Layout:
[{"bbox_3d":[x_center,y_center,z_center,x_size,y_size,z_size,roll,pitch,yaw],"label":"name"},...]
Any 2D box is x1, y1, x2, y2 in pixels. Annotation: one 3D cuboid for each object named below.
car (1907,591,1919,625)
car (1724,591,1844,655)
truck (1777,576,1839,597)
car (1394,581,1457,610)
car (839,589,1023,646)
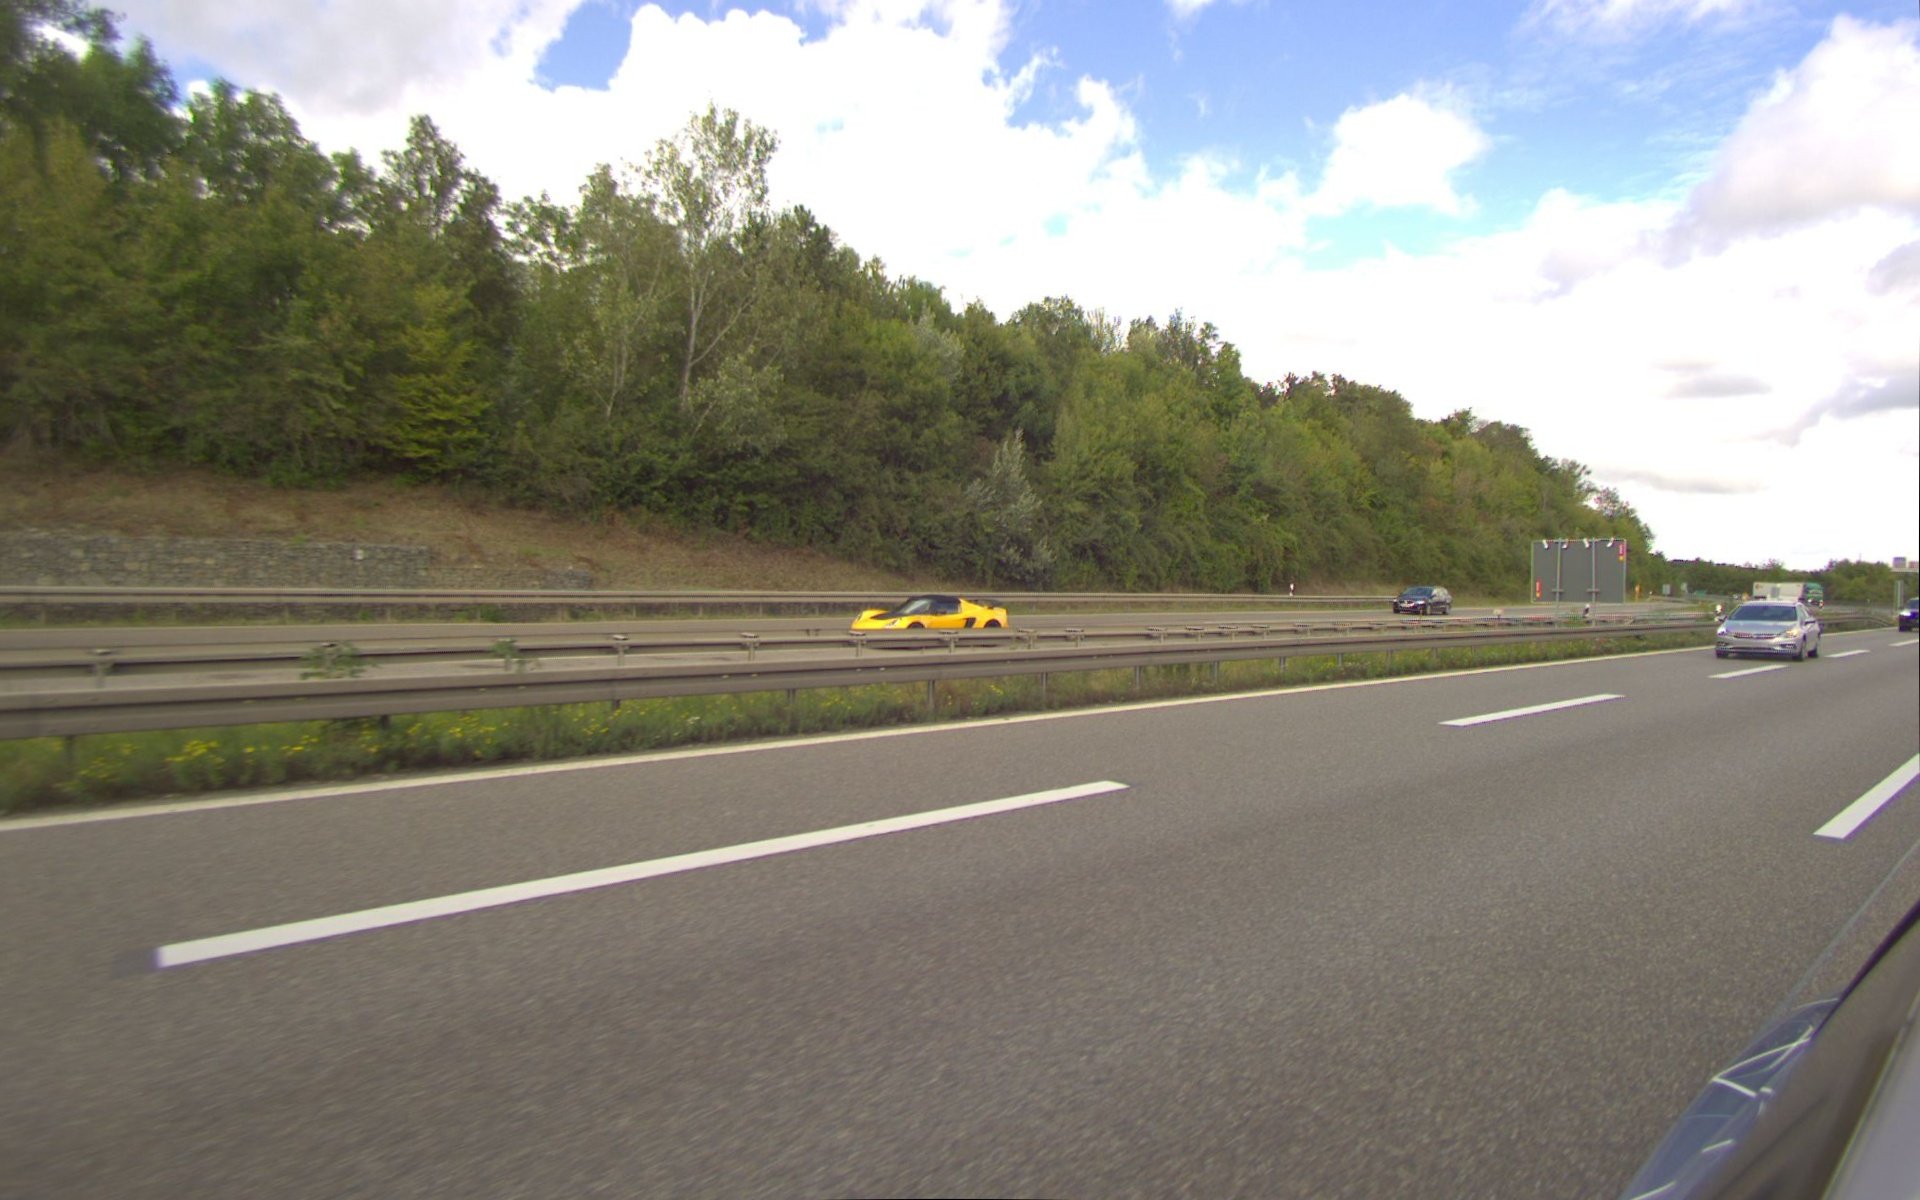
[{"bbox_3d":[49.331,0.411,50.990,4.773,1.656,1.875,0,1,-41],"label":"car"},{"bbox_3d":[21.480,0.547,26.320,4.536,1.504,1.686,0,1,-41],"label":"car"},{"bbox_3d":[157.507,-2.468,188.301,2.925,3.845,13.410,1,1,13],"label":"truck"},{"bbox_3d":[24.387,-0.231,52.964,1.713,1.433,4.101,2,2,45],"label":"car"},{"bbox_3d":[-0.598,0.358,23.293,4.096,1.196,1.715,0,1,-41],"label":"car"}]
